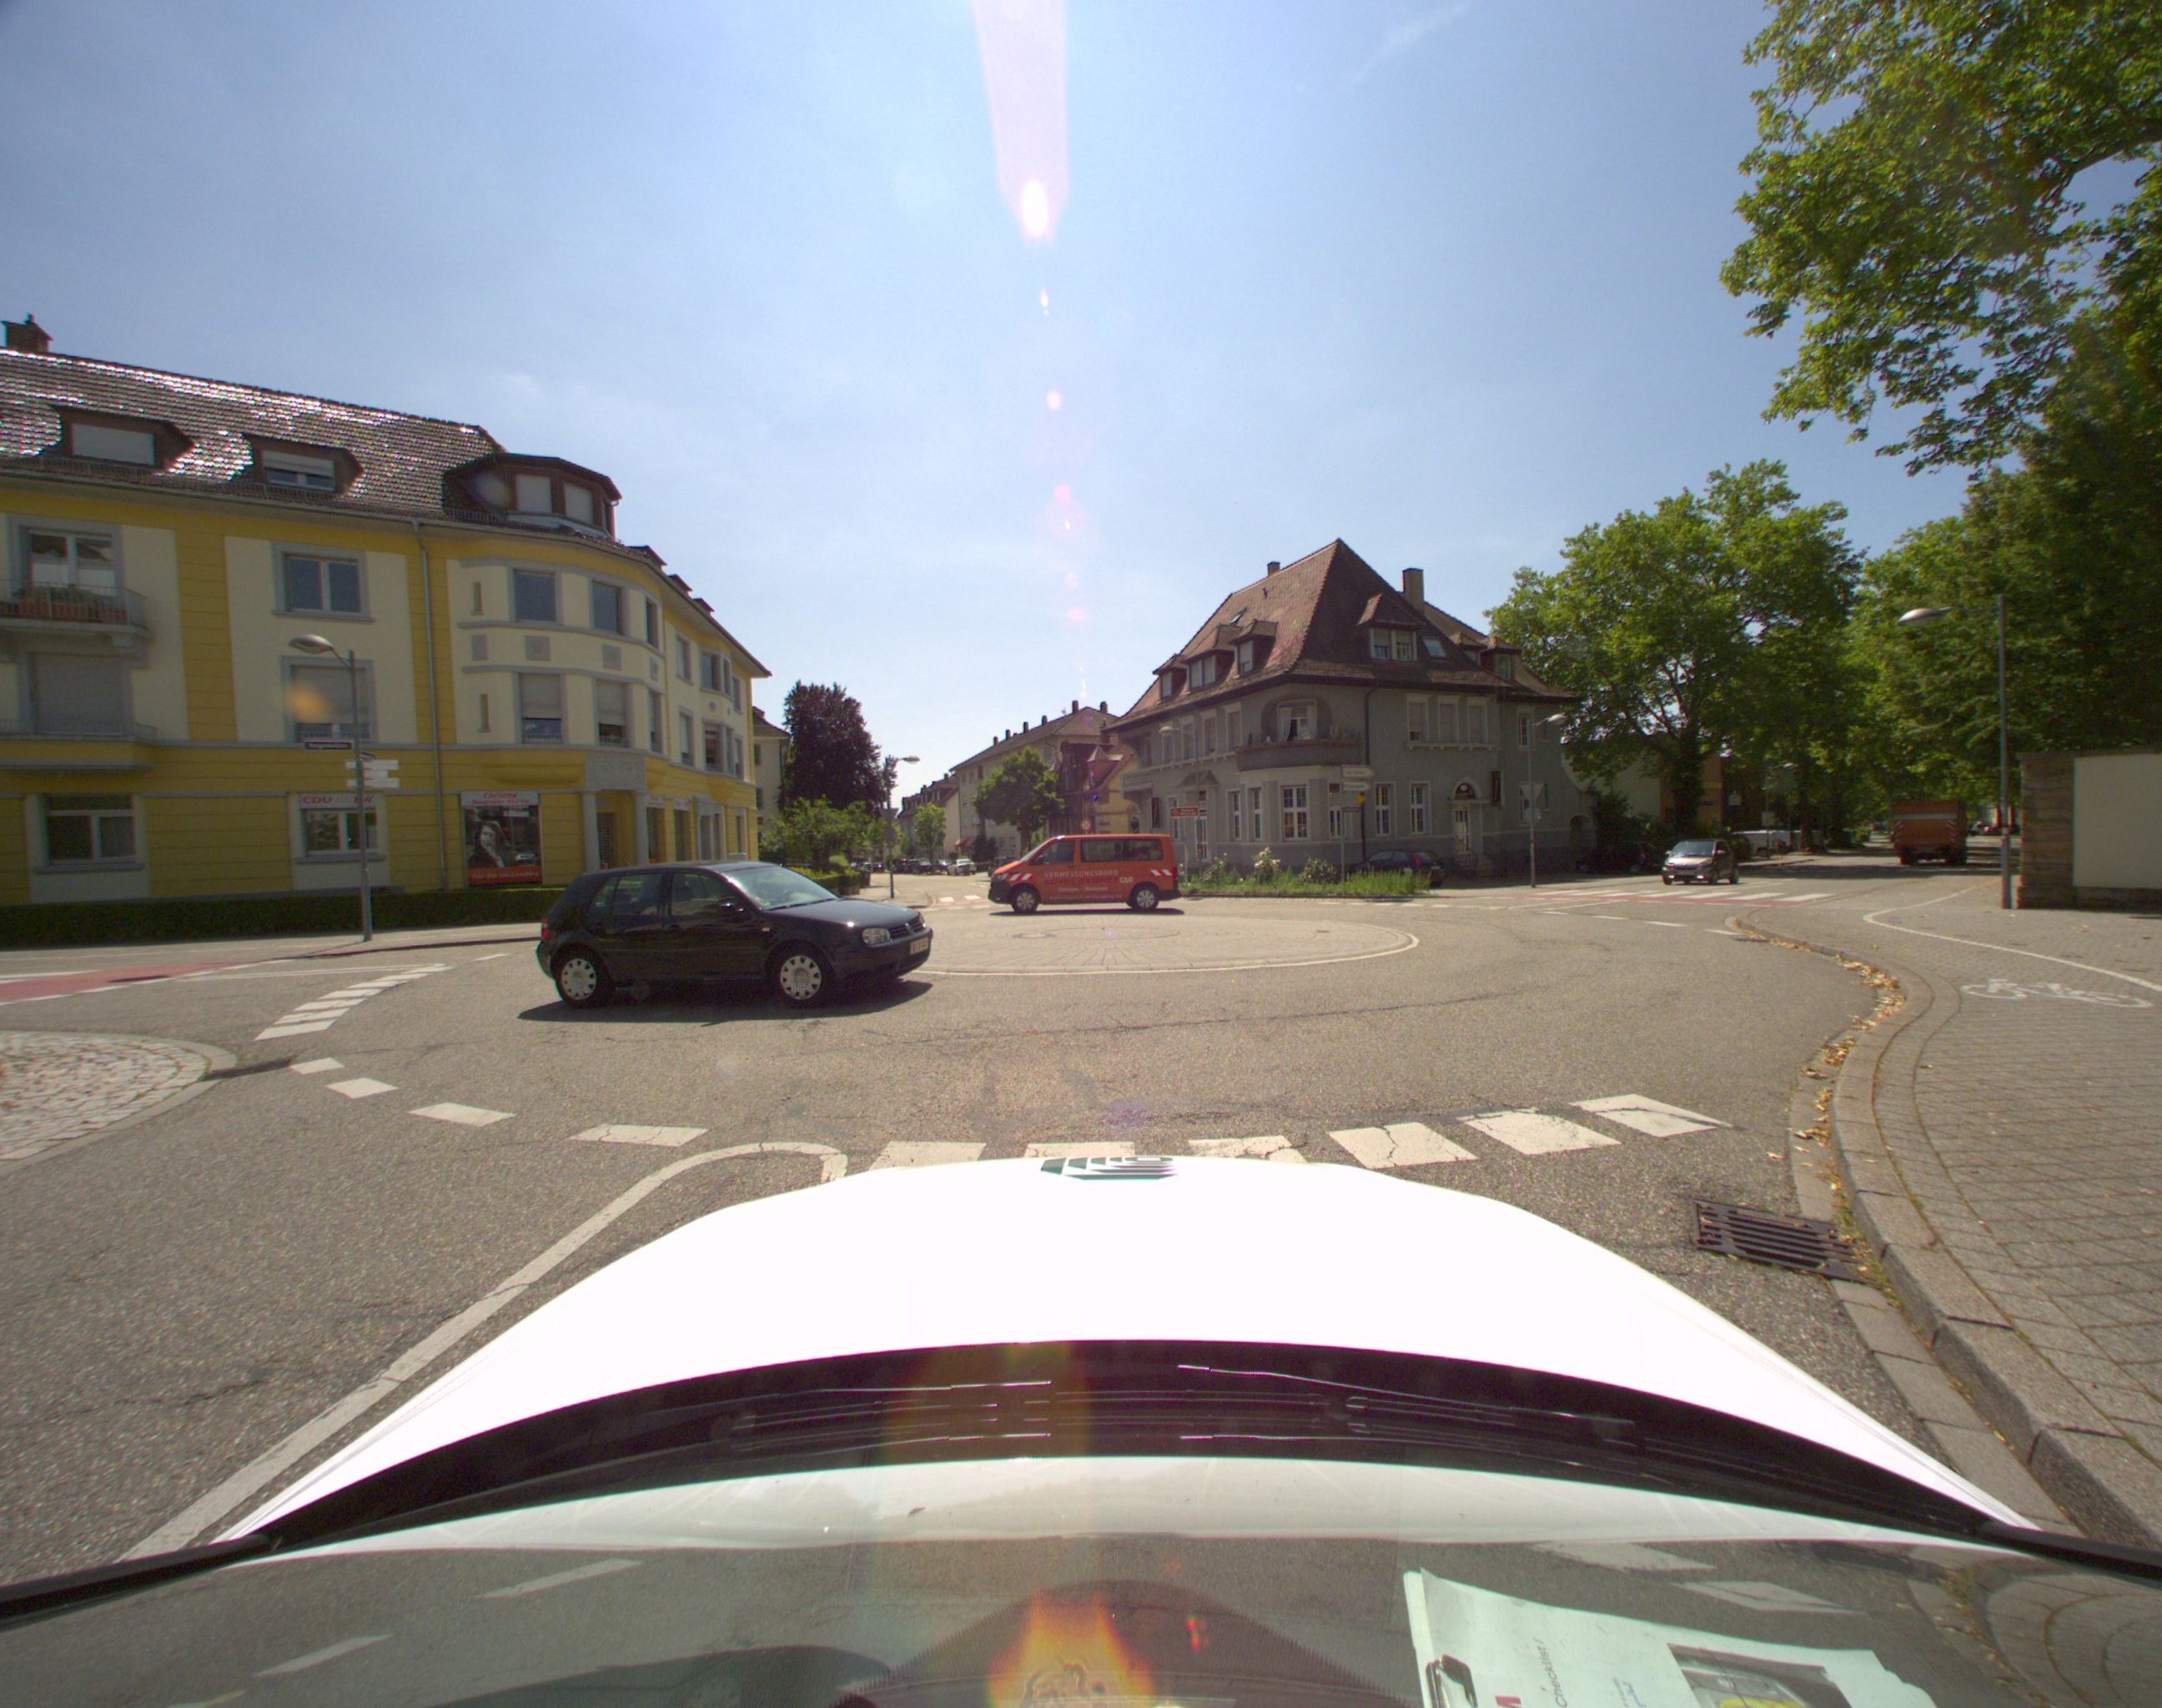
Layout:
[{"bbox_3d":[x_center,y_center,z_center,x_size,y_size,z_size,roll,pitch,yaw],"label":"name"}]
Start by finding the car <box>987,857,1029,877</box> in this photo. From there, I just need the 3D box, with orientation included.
[{"bbox_3d":[-5.858,1.039,65.013,2.003,1.509,4.383,-1,0,-24],"label":"car"}]

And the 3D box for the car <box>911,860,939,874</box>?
[{"bbox_3d":[-17.217,1.449,89.802,2.003,1.509,4.383,-1,0,-24],"label":"car"}]

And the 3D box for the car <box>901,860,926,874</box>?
[{"bbox_3d":[-19.629,1.508,95.294,2.003,1.509,4.383,-1,0,-24],"label":"car"}]

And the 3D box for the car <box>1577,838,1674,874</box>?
[{"bbox_3d":[25.460,0.096,38.193,1.728,1.546,3.362,-1,0,-28],"label":"car"}]

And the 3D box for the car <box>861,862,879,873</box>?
[{"bbox_3d":[-32.228,2.064,124.305,2.003,1.509,4.383,-1,0,-24],"label":"car"}]

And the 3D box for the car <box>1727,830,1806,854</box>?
[{"bbox_3d":[52.494,-0.959,62.438,1.913,1.804,4.385,-1,2,-41],"label":"car"}]

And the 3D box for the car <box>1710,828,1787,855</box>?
[{"bbox_3d":[47.258,-0.904,57.702,1.878,1.792,3.953,-1,2,-41],"label":"car"}]

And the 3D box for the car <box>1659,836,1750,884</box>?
[{"bbox_3d":[21.317,0.183,27.832,2.798,1.530,1.554,-1,0,-32],"label":"car"}]

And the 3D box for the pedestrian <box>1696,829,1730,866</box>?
[{"bbox_3d":[30.209,-0.309,38.923,1.115,1.742,0.866,-1,0,-29],"label":"pedestrian"}]

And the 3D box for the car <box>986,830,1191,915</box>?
[{"bbox_3d":[0.147,0.433,20.934,4.995,1.959,1.947,-1,1,-5],"label":"car"}]

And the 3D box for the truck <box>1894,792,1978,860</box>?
[{"bbox_3d":[42.652,-1.290,40.582,5.797,3.134,2.351,0,-1,-38],"label":"truck"}]

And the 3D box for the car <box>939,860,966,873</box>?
[{"bbox_3d":[-15.015,1.435,94.697,2.003,1.509,4.383,-1,0,-24],"label":"car"}]

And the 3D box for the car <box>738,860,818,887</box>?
[{"bbox_3d":[-19.134,1.207,51.447,4.432,1.509,1.981,-2,0,-30],"label":"car"}]

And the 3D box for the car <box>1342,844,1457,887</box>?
[{"bbox_3d":[11.745,0.429,30.291,1.728,1.460,3.758,-1,0,-28],"label":"car"}]

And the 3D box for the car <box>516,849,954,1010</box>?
[{"bbox_3d":[-3.621,0.777,8.785,4.016,1.447,1.723,-2,1,13],"label":"car"}]

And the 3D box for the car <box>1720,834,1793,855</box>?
[{"bbox_3d":[50.502,-0.751,60.921,1.878,1.515,3.953,-1,2,-41],"label":"car"}]

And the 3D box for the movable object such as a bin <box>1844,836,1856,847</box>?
[{"bbox_3d":[73.754,-1.184,78.102,0.622,1.048,0.619,-2,0,-30],"label":"movable object such as a bin"}]

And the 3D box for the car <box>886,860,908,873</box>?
[{"bbox_3d":[-23.638,1.608,104.438,2.003,1.509,4.383,-1,0,-24],"label":"car"}]

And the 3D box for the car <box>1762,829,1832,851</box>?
[{"bbox_3d":[59.180,-1.191,67.369,1.913,1.804,4.093,-1,2,-41],"label":"car"}]

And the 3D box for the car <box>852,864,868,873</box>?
[{"bbox_3d":[-36.519,2.424,134.451,2.002,1.488,3.969,0,-1,-23],"label":"car"}]

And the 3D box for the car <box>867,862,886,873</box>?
[{"bbox_3d":[-29.872,1.896,118.778,2.003,1.509,4.383,-1,0,-24],"label":"car"}]

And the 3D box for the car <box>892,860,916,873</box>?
[{"bbox_3d":[-21.840,1.561,100.148,2.003,1.509,4.383,-1,0,-24],"label":"car"}]

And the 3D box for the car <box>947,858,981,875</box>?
[{"bbox_3d":[-10.970,1.176,76.066,2.003,1.509,4.383,-1,0,-24],"label":"car"}]
